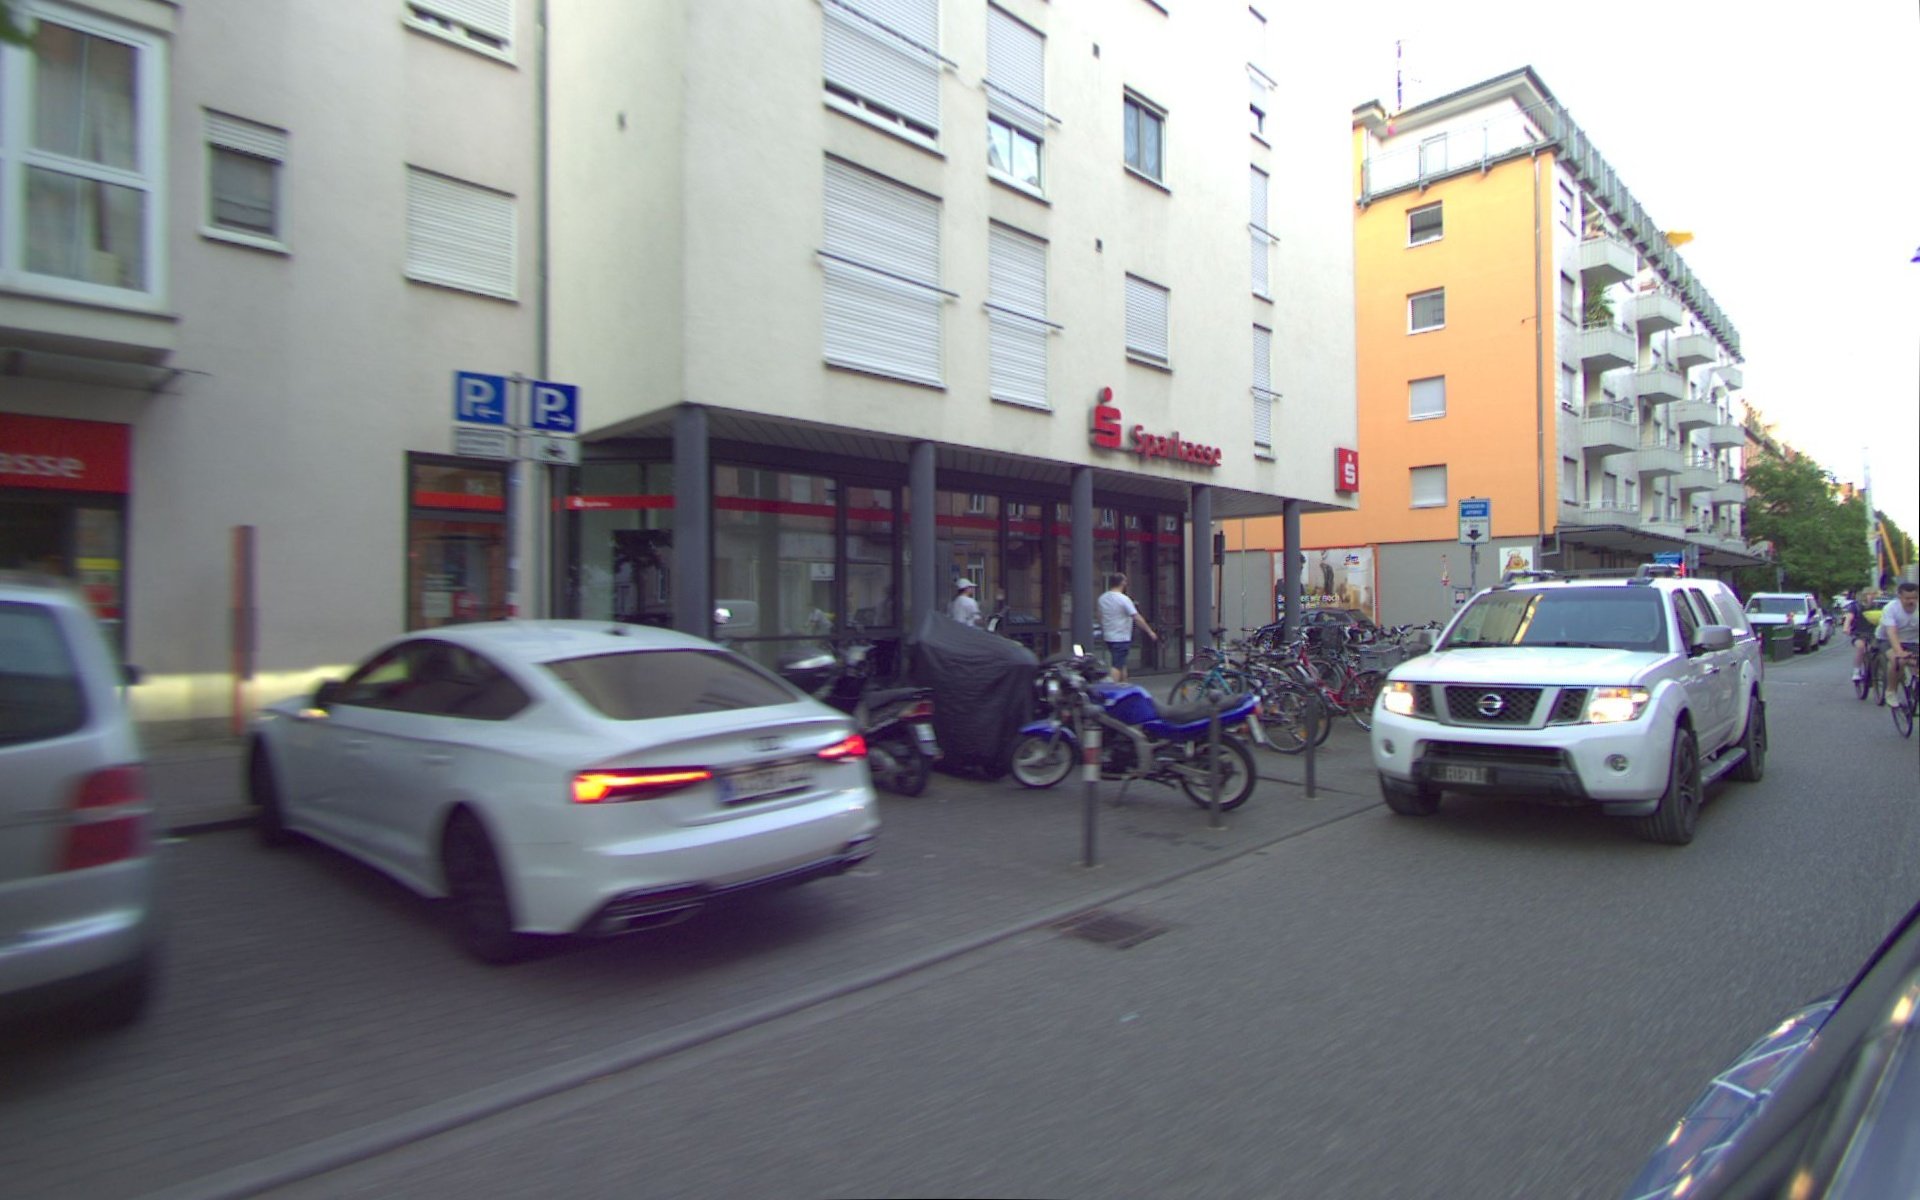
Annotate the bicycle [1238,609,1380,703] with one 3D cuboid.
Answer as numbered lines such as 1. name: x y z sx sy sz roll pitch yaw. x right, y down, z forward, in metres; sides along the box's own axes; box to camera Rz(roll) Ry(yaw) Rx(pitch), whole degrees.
1. bicycle: 4.712 0.725 13.761 0.642 1.132 1.725 0 1 -41

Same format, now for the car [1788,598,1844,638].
1. car: 35.095 0.708 41.487 1.592 1.520 3.370 1 1 43

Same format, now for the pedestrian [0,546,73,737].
1. pedestrian: -8.987 0.387 9.799 0.577 1.775 0.626 -1 -1 -41

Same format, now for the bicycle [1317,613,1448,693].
1. bicycle: 6.405 0.773 15.405 0.642 1.067 1.725 0 1 -41

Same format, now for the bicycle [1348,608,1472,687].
1. bicycle: 7.144 0.729 16.091 1.716 1.146 0.572 1 1 35

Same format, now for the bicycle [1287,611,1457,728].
1. bicycle: 4.972 0.788 12.327 0.720 1.196 1.796 0 3 -33

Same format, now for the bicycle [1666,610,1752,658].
1. bicycle: 19.829 0.876 26.843 0.644 1.149 1.948 1 1 -7

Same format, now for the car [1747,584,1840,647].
1. car: 28.766 0.514 34.872 4.920 1.998 1.960 1 0 -44

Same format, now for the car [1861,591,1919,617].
1. car: 85.871 0.340 92.186 5.083 2.222 2.322 -2 0 21

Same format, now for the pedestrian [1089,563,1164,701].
1. pedestrian: 2.226 0.408 13.484 0.899 1.745 0.773 2 -1 12

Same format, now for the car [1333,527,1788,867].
1. car: 5.074 0.534 8.118 1.911 1.877 5.185 -2 -1 45

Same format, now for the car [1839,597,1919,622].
1. car: 65.819 0.663 72.372 3.942 1.689 1.820 -2 0 15

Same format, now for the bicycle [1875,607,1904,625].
1. bicycle: 64.295 1.112 70.027 0.657 1.146 2.104 1 1 18

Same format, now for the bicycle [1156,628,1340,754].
1. bicycle: 2.902 0.882 10.371 0.555 1.034 1.776 0 3 -41

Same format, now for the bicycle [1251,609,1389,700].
1. bicycle: 5.035 0.729 14.235 0.642 1.132 1.725 0 1 -41

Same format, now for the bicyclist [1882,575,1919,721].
1. bicyclist: 10.425 0.489 10.868 0.937 1.528 0.649 -1 -1 -42

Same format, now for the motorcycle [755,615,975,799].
1. motorcycle: -0.849 0.803 8.460 0.705 1.259 2.060 1 1 -43

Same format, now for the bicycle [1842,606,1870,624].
1. bicycle: 62.441 1.033 70.562 0.657 1.180 2.104 1 1 18

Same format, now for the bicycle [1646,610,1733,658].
1. bicycle: 18.981 0.862 26.390 0.644 1.149 1.948 1 1 -7

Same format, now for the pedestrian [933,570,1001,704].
1. pedestrian: 0.090 0.491 13.583 0.649 1.745 0.666 2 -1 -25

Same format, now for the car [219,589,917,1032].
1. car: -2.455 0.722 5.663 4.418 1.473 1.754 2 1 40

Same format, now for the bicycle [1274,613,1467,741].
1. bicycle: 4.604 0.811 11.479 0.729 1.196 1.874 0 3 -39

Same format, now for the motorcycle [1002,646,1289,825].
1. motorcycle: 1.372 0.957 7.698 2.047 1.091 0.656 1 1 31

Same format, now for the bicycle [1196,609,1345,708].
1. bicycle: 3.965 0.709 13.002 1.722 1.132 0.643 2 1 43

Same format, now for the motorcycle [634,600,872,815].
1. motorcycle: -1.649 0.731 7.818 2.057 1.386 0.706 2 1 43

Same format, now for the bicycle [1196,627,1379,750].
1. bicycle: 3.430 0.887 10.724 0.656 1.044 1.723 0 3 -41

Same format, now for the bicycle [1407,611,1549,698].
1. bicycle: 7.632 0.769 14.970 0.694 1.132 1.725 0 1 -41

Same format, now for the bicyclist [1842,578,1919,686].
1. bicyclist: 14.105 0.484 15.484 0.789 1.592 0.815 -2 -3 37

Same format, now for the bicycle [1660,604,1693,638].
1. bicycle: 27.654 0.804 39.089 0.906 1.210 1.692 2 1 32

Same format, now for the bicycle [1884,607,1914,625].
1. bicycle: 64.957 1.114 70.003 0.657 1.183 2.104 1 1 18

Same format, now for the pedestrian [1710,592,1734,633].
1. pedestrian: 32.310 0.515 42.923 0.732 1.686 0.709 -1 1 -45

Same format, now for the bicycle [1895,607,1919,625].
1. bicycle: 65.260 1.125 69.505 0.657 1.183 2.104 1 1 18

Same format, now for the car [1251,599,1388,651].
1. car: 11.221 0.752 31.751 1.677 1.494 3.672 -1 0 -42

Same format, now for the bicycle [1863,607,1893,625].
1. bicycle: 63.660 1.090 70.202 0.657 1.146 2.104 1 1 18

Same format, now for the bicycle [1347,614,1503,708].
1. bicycle: 6.371 0.796 13.934 1.809 1.132 0.696 2 1 45

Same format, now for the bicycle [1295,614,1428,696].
1. bicycle: 5.913 0.775 14.964 0.642 1.067 1.725 0 1 -41

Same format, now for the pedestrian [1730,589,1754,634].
1. pedestrian: 32.655 0.472 42.250 0.847 1.851 0.709 -1 1 -45

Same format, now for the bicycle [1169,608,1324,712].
1. bicycle: 3.500 0.701 12.463 1.722 1.132 0.643 2 1 43

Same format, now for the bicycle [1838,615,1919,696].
1. bicycle: 14.157 0.822 15.537 0.789 1.154 2.312 -2 -2 36

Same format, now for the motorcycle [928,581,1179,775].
1. motorcycle: 0.798 0.627 9.596 0.809 1.568 2.496 0 2 -41

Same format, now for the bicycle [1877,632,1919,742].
1. bicycle: 10.417 0.900 10.854 1.885 1.031 0.657 -1 -1 -42

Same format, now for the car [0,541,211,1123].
1. car: -4.540 0.609 4.204 1.718 1.668 4.402 1 1 -44

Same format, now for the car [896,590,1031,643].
1. car: 0.034 0.495 30.505 1.759 1.452 4.242 4 -3 -39

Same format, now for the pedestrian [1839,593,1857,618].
1. pedestrian: 60.195 0.383 68.584 0.850 1.628 0.540 2 -1 -18
